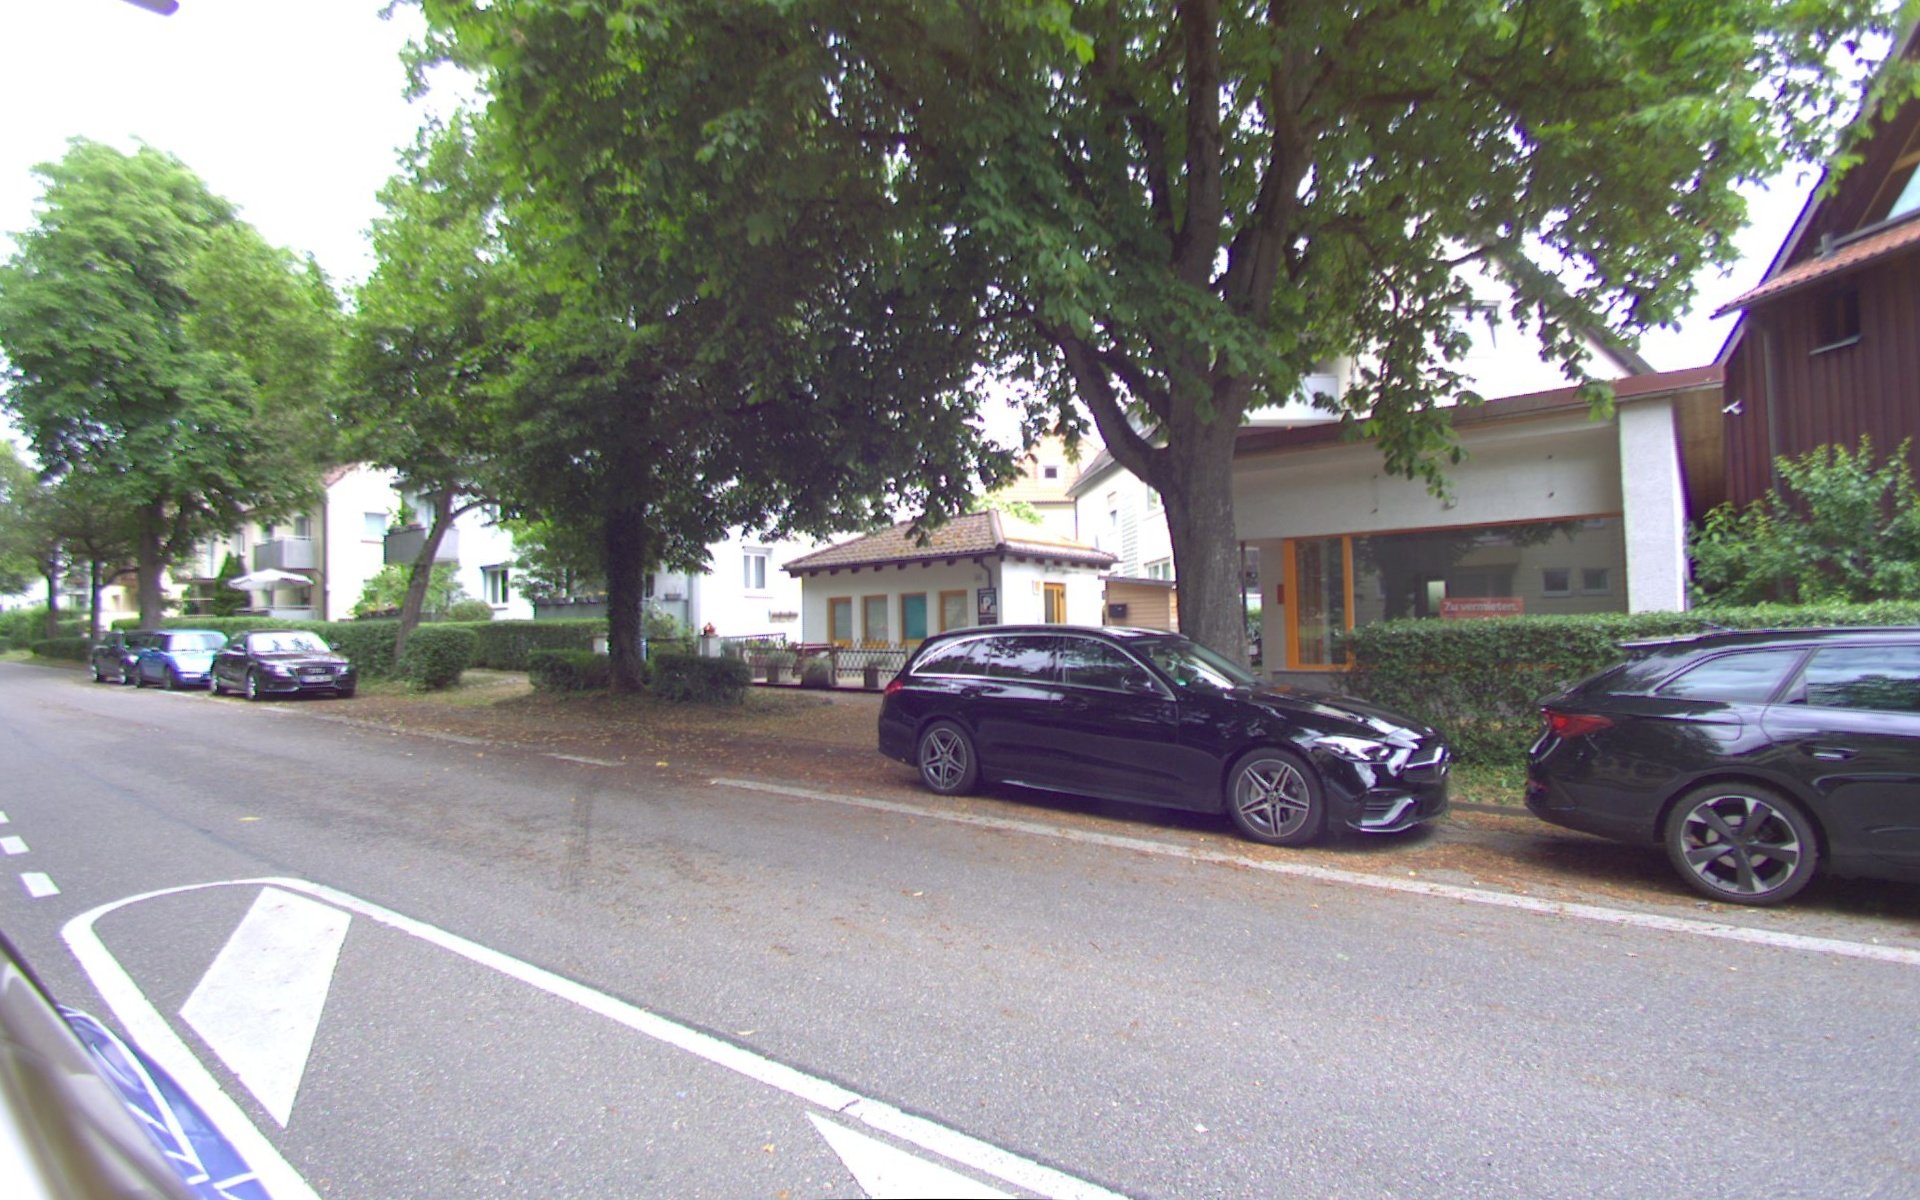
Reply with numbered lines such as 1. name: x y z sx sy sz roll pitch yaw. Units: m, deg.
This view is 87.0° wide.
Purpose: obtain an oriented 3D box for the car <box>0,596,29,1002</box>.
1. car: -5.925 0.781 4.596 4.612 1.511 1.973 -2 -3 41

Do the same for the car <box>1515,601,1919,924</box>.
1. car: 5.447 0.761 4.988 4.536 1.497 1.674 -2 -3 38

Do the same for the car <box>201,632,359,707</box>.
1. car: -14.225 1.384 21.093 4.169 1.414 1.713 -2 -3 41

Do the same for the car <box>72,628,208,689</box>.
1. car: -22.608 1.569 27.852 4.558 1.545 1.866 -2 -3 37

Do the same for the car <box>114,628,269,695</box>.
1. car: -18.919 1.470 24.860 4.558 1.512 1.866 -2 -3 37

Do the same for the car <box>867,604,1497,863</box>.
1. car: 1.552 0.870 8.200 4.612 1.511 1.973 -2 -3 41
